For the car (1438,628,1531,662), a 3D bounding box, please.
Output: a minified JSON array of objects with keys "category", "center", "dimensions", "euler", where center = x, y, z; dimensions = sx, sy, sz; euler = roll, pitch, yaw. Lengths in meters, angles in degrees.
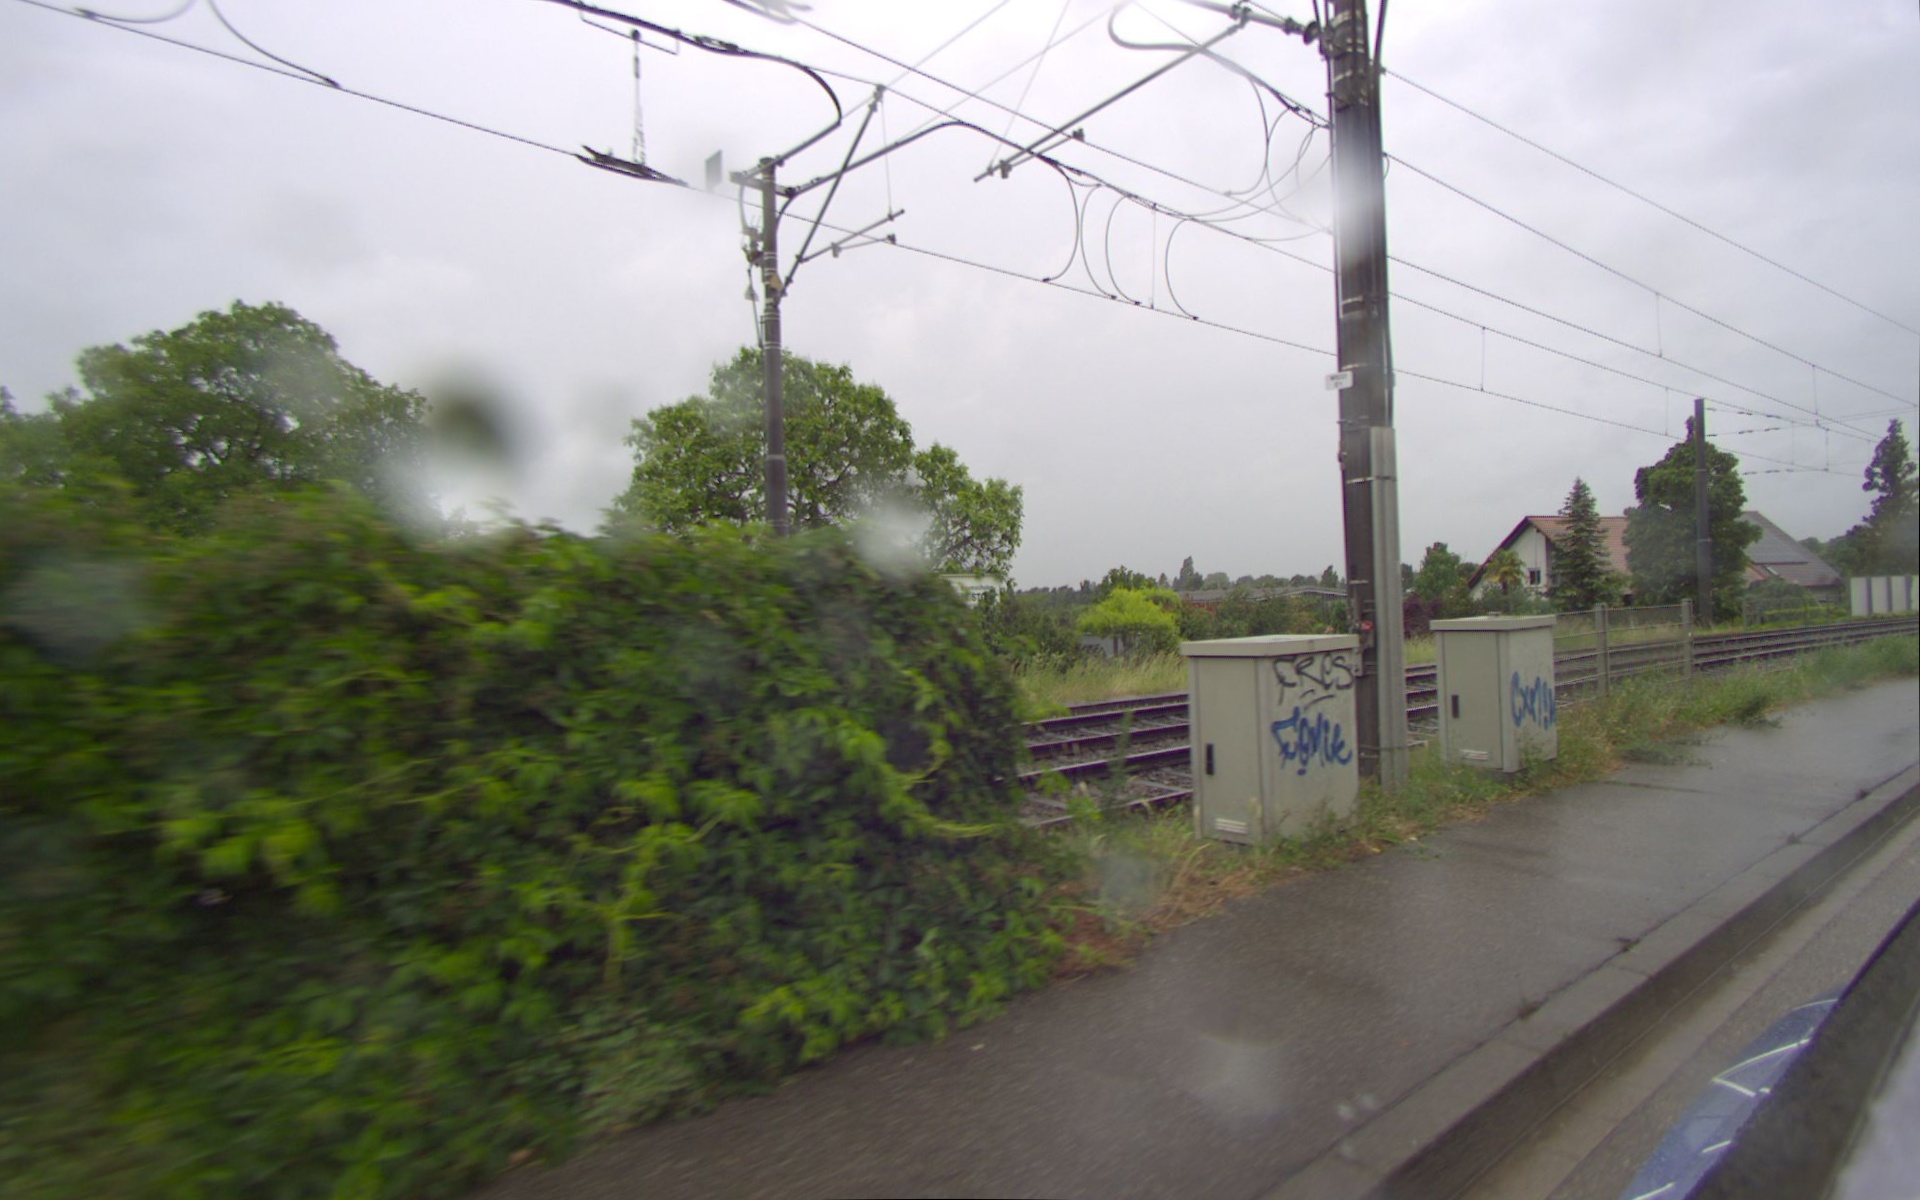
[{"category":"car","center":[28.389,2.426,54.918],"dimensions":[1.840,1.658,4.202],"euler":[-3,-1,-24]}]
